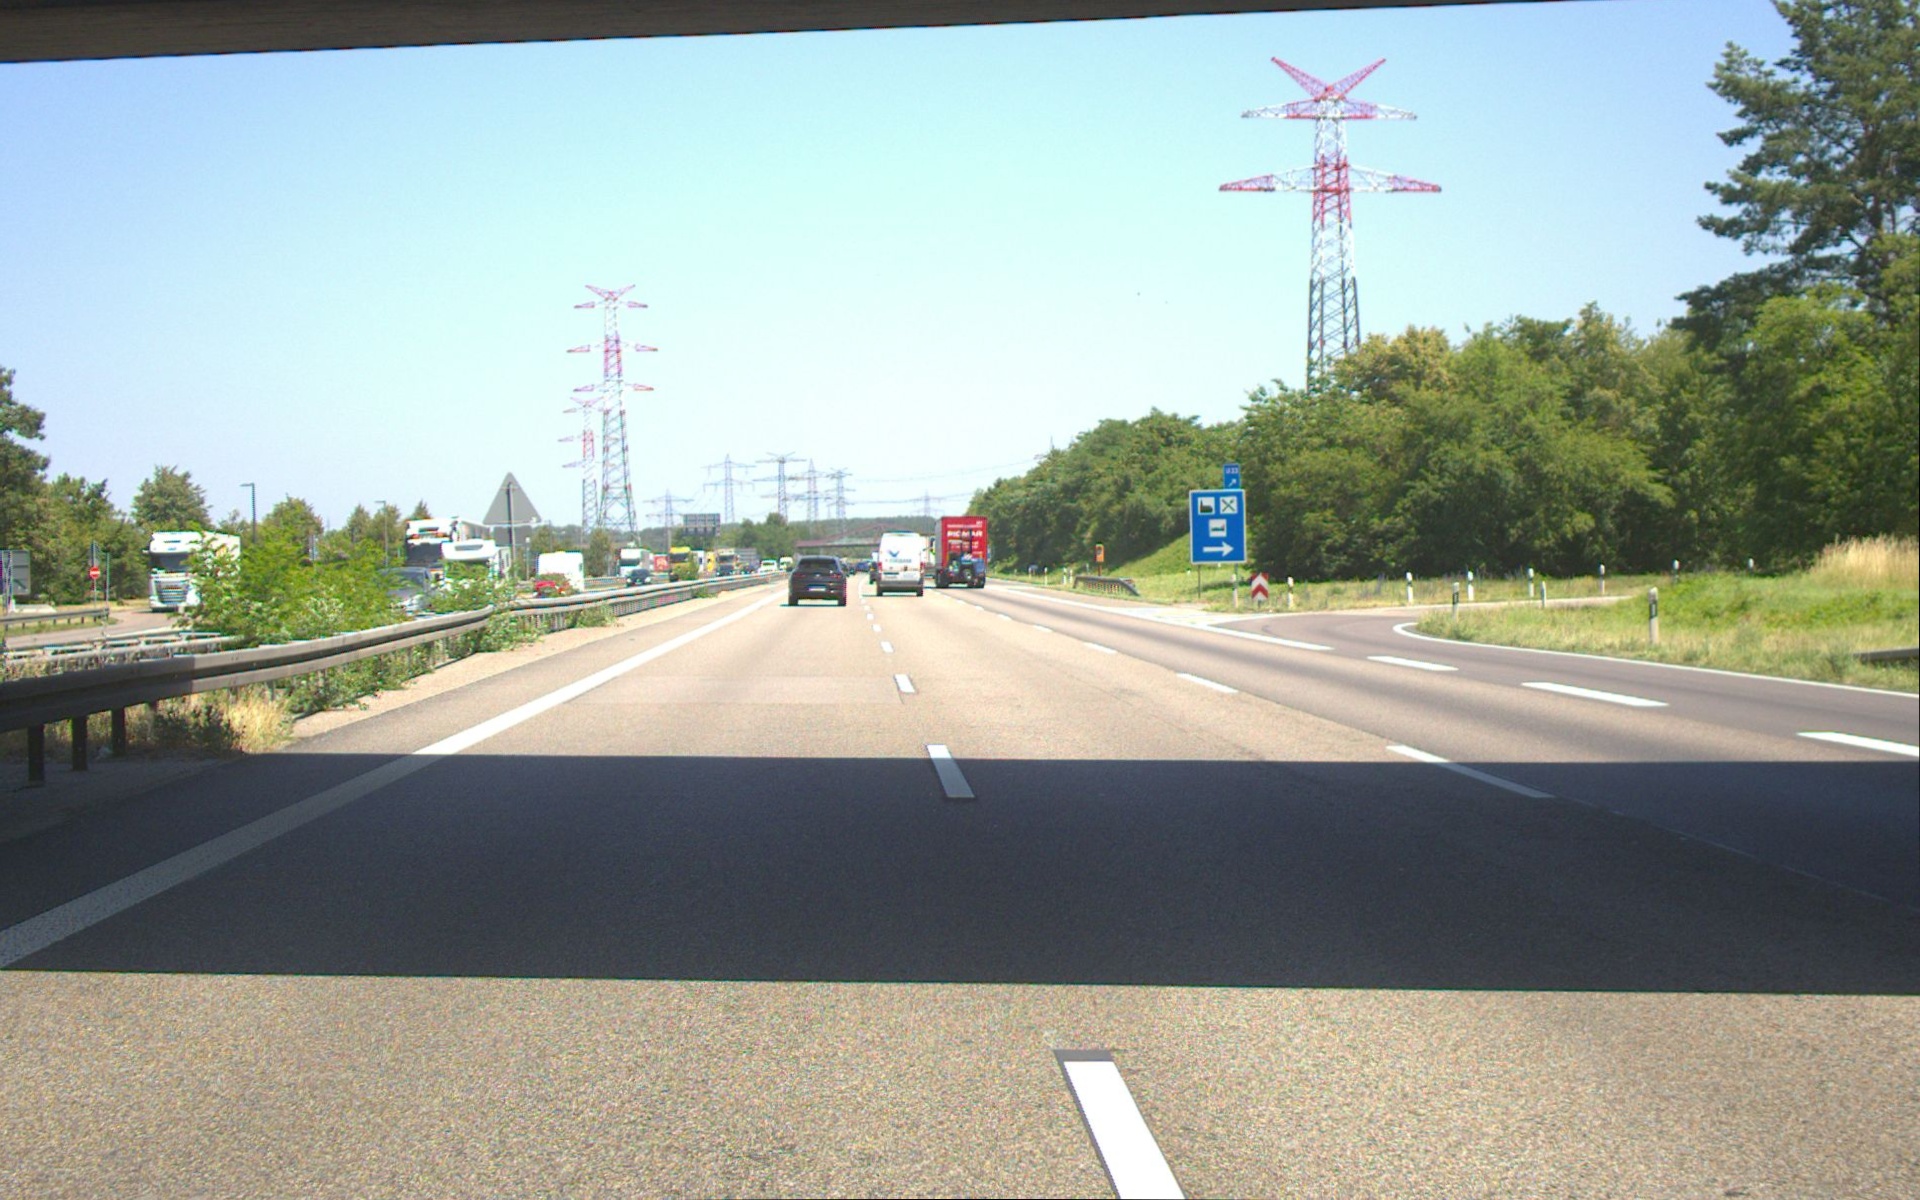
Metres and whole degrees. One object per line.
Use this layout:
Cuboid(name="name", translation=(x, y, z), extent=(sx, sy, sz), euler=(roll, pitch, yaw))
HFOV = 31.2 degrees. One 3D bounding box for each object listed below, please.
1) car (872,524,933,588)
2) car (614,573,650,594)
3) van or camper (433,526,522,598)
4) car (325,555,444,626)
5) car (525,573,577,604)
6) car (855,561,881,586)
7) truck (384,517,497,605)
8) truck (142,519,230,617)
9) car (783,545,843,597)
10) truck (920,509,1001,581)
Cuboid(name="car", translation=(-2.596, -1.966, 153.253), extent=(2.621, 2.749, 6.097), euler=(1, 1, -2))
Cuboid(name="car", translation=(-23.721, -1.185, 248.605), extent=(2.227, 1.375, 4.891), euler=(-3, 1, -2))
Cuboid(name="van or camper", translation=(-19.840, -1.559, 141.760), extent=(2.501, 2.801, 8.562), euler=(-1, 1, -1))
Cuboid(name="car", translation=(-14.372, -0.268, 86.163), extent=(2.227, 1.605, 5.060), euler=(-3, 1, -2))
Cuboid(name="car", translation=(-20.782, -0.596, 174.822), extent=(2.227, 1.375, 4.692), euler=(-3, 1, -2))
Cuboid(name="car", translation=(-6.298, -1.832, 236.139), extent=(1.747, 1.628, 4.004), euler=(1, 1, -2))
Cuboid(name="truck", translation=(-25.285, -1.899, 168.179), extent=(3.326, 3.982, 16.868), euler=(-1, 1, -2))
Cuboid(name="truck", translation=(-40.251, -1.695, 179.058), extent=(3.070, 4.811, 7.717), euler=(-3, 1, -4))
Cuboid(name="car", translation=(-5.064, -1.010, 118.695), extent=(1.993, 1.744, 4.000), euler=(1, 1, -2))
Cuboid(name="truck", translation=(-0.055, -3.201, 199.105), extent=(4.331, 3.928, 16.078), euler=(1, 1, -1))
